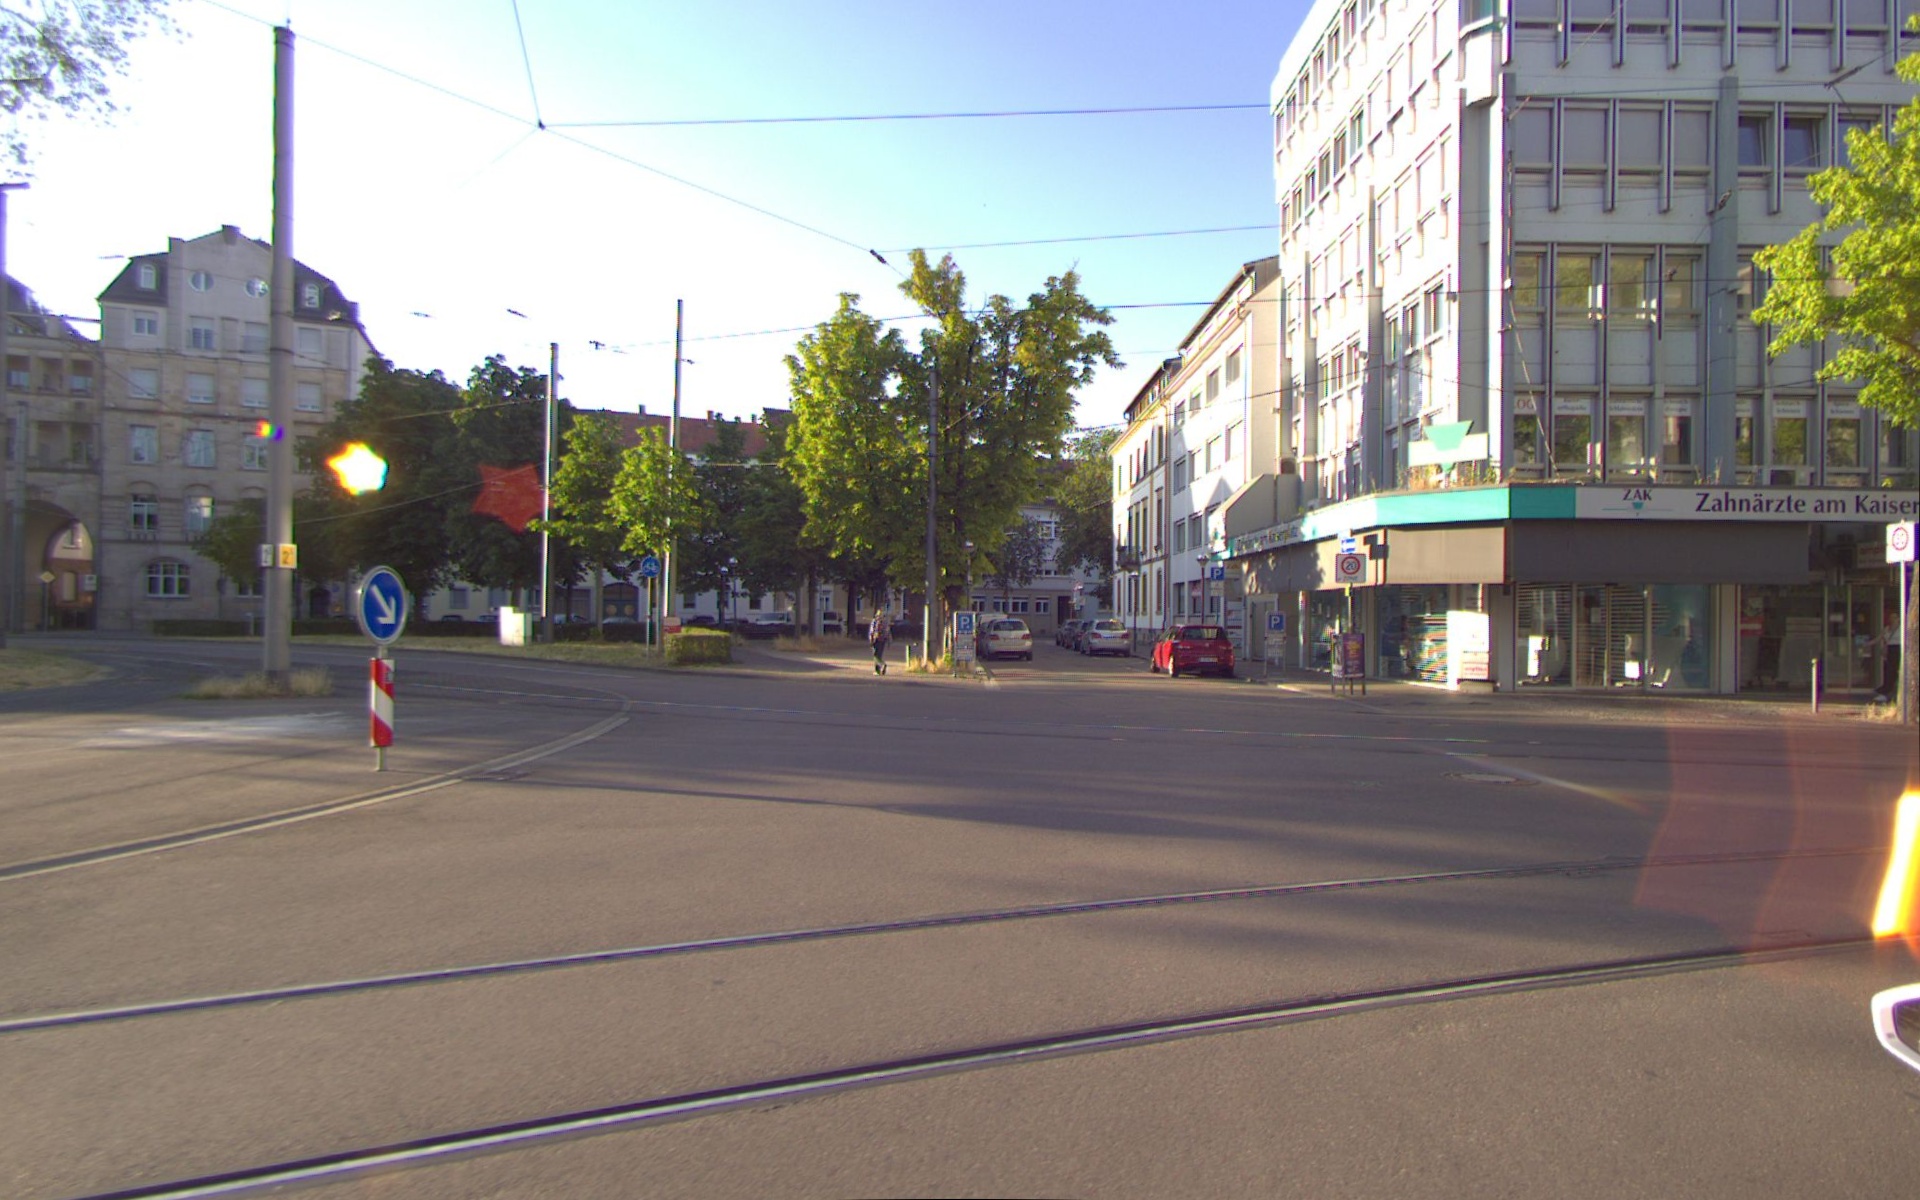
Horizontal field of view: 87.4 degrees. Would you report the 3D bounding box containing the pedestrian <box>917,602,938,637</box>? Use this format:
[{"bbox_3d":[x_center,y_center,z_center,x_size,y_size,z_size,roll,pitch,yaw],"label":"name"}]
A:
[{"bbox_3d":[-1.903,1.131,59.267,1.097,2.040,1.465,1,0,1],"label":"pedestrian"}]

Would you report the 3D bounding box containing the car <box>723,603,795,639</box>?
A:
[{"bbox_3d":[-11.877,1.259,59.300,3.939,2.040,1.991,1,-1,-20],"label":"car"}]

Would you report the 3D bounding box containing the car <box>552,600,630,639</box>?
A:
[{"bbox_3d":[-20.451,1.077,55.777,3.939,2.040,1.991,1,-1,-20],"label":"car"}]

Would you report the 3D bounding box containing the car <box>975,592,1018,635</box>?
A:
[{"bbox_3d":[1.891,0.675,50.750,1.960,2.040,4.002,1,-1,5],"label":"car"}]

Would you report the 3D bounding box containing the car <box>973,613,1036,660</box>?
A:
[{"bbox_3d":[1.699,1.408,39.816,1.962,1.706,3.997,1,-1,-5],"label":"car"}]

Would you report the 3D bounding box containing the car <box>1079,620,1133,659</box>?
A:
[{"bbox_3d":[6.381,1.697,44.182,1.960,1.550,4.001,1,-1,3],"label":"car"}]

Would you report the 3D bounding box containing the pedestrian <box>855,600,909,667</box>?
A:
[{"bbox_3d":[-2.064,0.883,26.543,1.139,1.725,0.908,1,-1,17],"label":"pedestrian"}]

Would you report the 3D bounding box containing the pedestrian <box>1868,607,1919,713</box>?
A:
[{"bbox_3d":[18.542,1.158,19.707,0.719,2.040,0.799,1,0,1],"label":"pedestrian"}]

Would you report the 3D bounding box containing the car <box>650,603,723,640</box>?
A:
[{"bbox_3d":[-15.743,1.214,57.800,3.939,2.040,1.991,1,-1,-20],"label":"car"}]

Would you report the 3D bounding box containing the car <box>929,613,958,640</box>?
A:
[{"bbox_3d":[-1.343,2.059,79.147,1.962,2.040,3.997,1,-1,-5],"label":"car"}]

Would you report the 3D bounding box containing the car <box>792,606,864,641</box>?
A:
[{"bbox_3d":[-7.995,1.398,60.777,3.939,2.040,1.991,1,-1,-20],"label":"car"}]

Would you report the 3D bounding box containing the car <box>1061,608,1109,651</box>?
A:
[{"bbox_3d":[6.270,1.476,50.826,1.960,2.040,4.001,1,-1,1],"label":"car"}]

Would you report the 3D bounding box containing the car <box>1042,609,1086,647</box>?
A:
[{"bbox_3d":[5.868,1.555,57.191,1.961,2.040,3.999,1,-1,-2],"label":"car"}]

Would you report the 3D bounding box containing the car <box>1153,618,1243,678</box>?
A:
[{"bbox_3d":[6.738,1.316,28.821,1.986,1.504,4.002,1,0,6],"label":"car"}]

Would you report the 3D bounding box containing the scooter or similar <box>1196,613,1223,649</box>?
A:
[{"bbox_3d":[10.324,1.266,41.477,0.741,1.417,1.926,1,0,24],"label":"scooter or similar"}]
